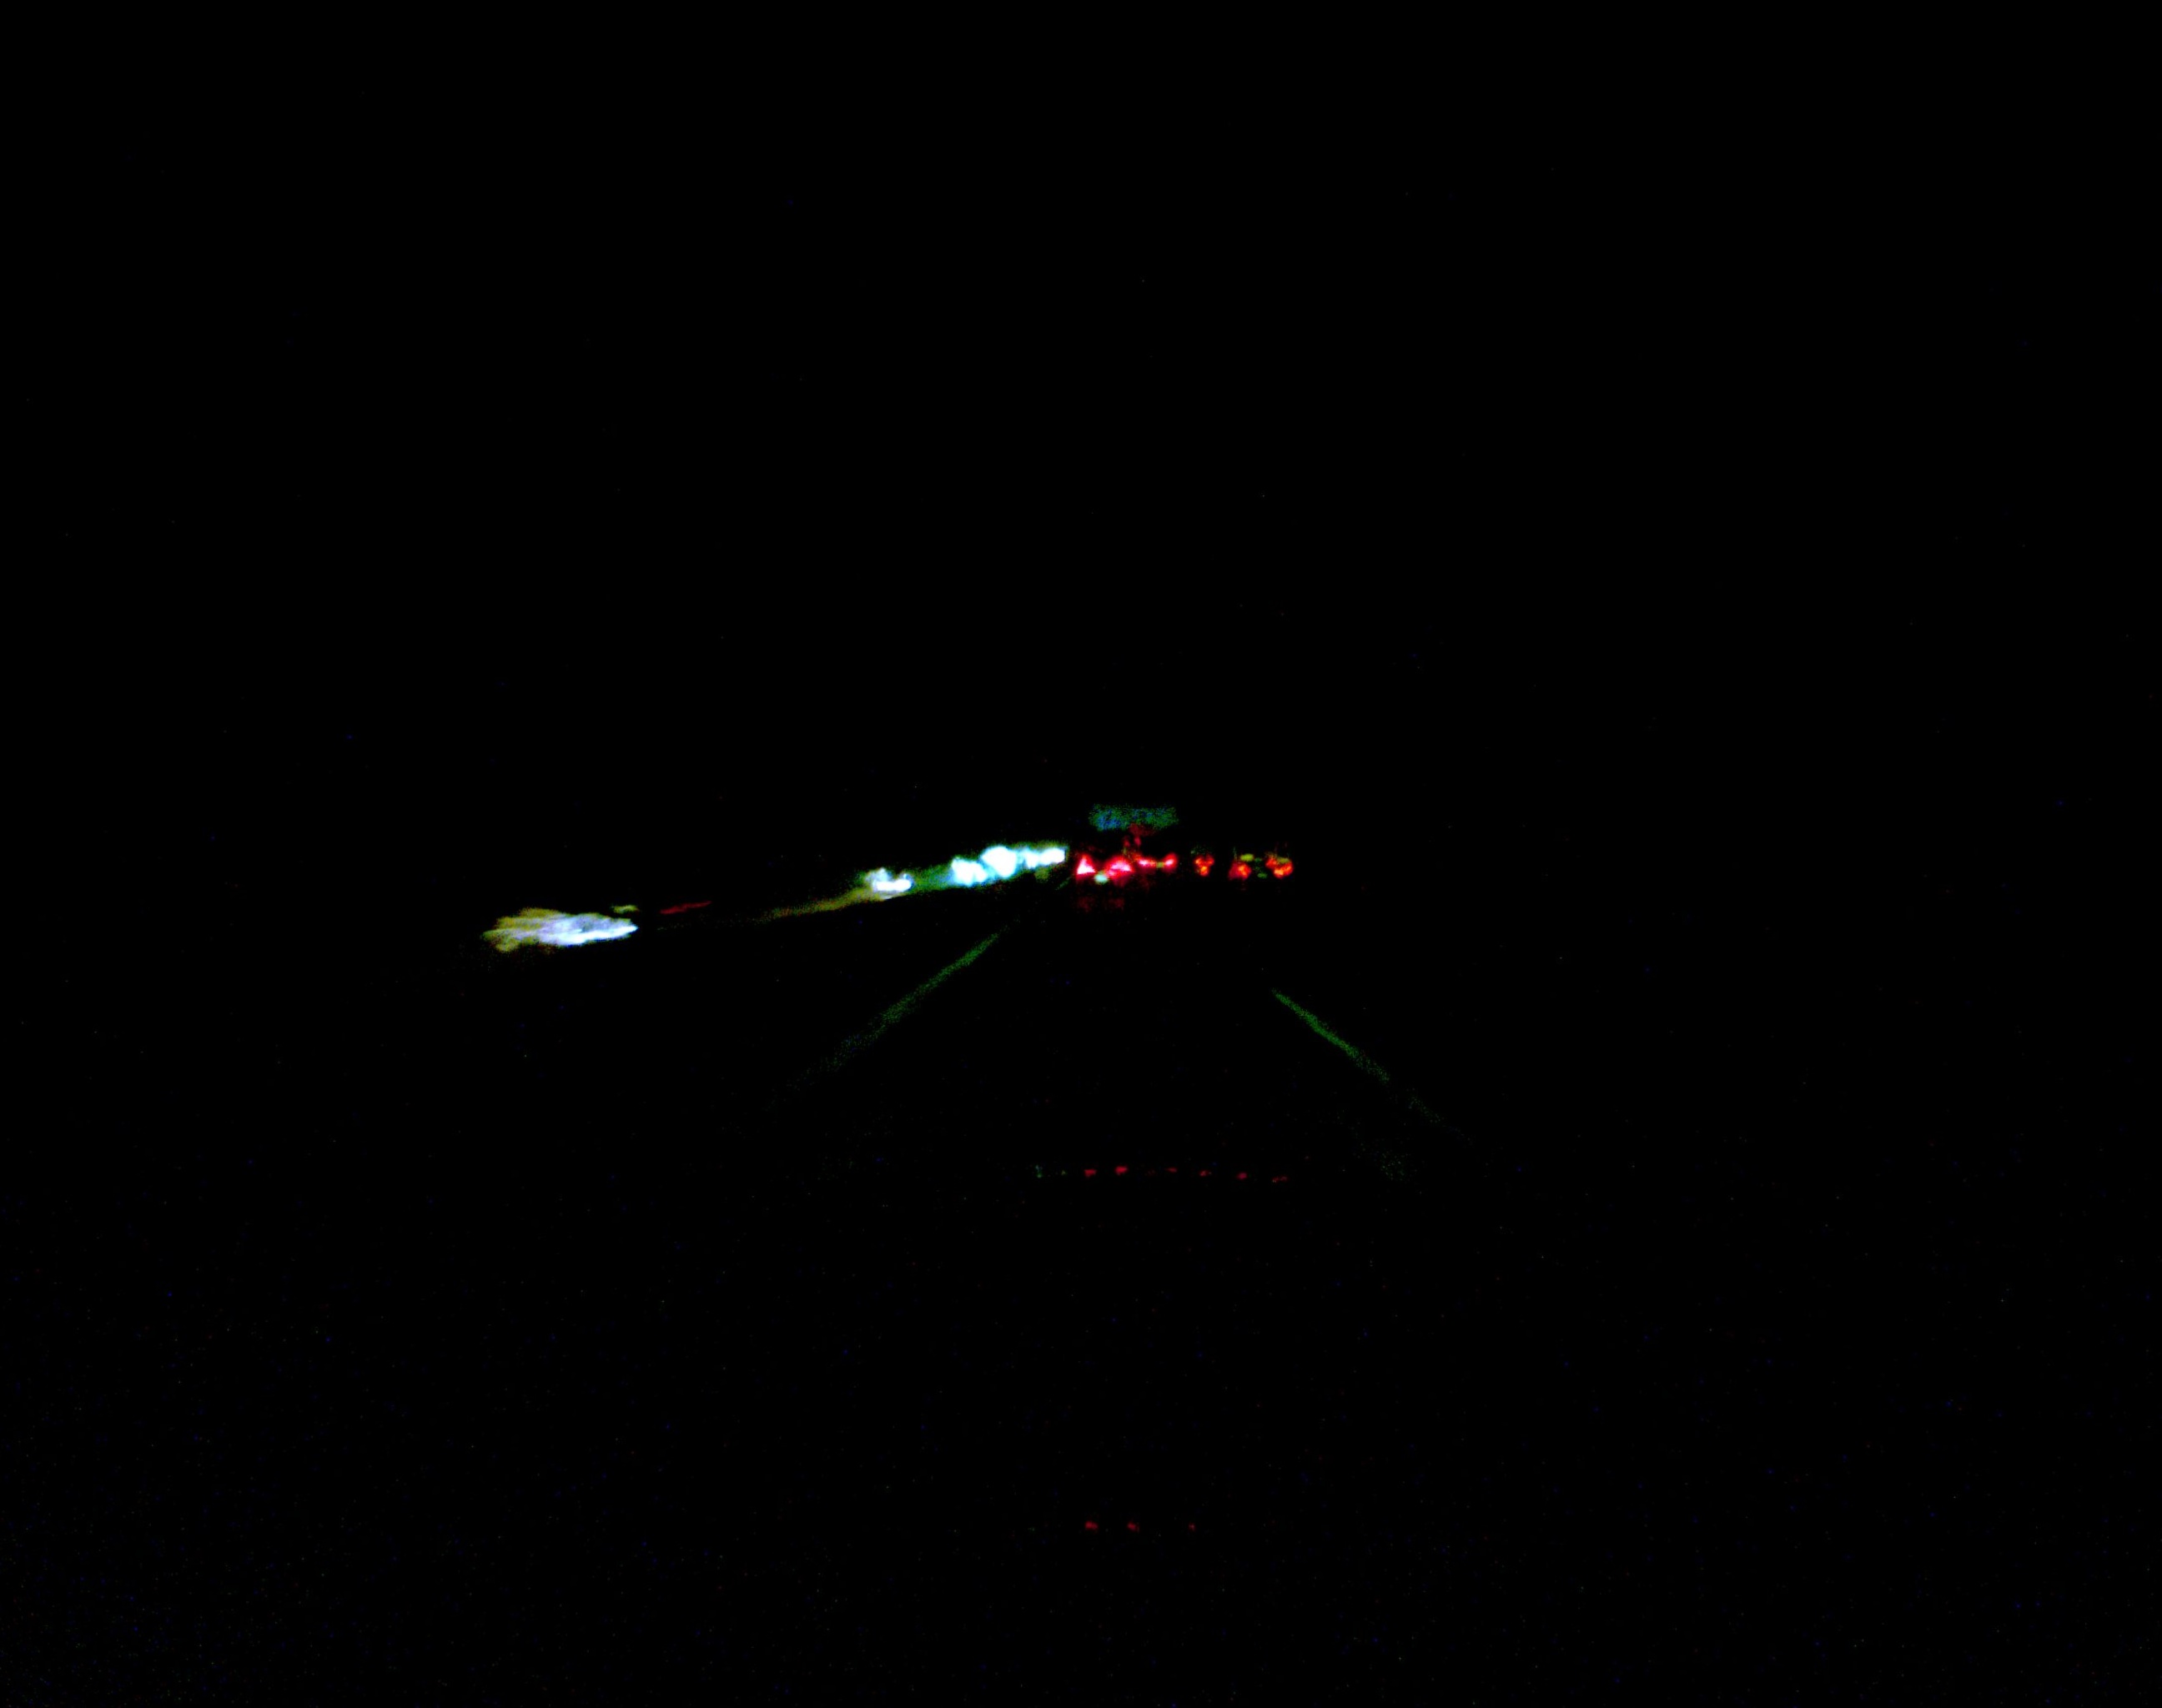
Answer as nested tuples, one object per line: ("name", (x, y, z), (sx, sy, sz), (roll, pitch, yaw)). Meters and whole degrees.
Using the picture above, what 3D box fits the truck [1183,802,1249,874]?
("truck", (8.359, -0.962, 51.077), (3.031, 4.108, 5.799), (-3, 0, 1))

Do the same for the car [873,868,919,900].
("car", (-11.535, 1.861, 50.945), (1.988, 1.760, 3.999), (0, 1, -1))

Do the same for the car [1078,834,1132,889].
("car", (0.933, 0.291, 32.118), (1.986, 2.014, 4.001), (-1, 0, 1))

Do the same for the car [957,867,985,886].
("car", (-10.980, 2.226, 81.669), (1.986, 1.760, 4.961), (0, 1, 1))

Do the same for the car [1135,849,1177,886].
("car", (4.376, 0.763, 48.145), (1.988, 2.013, 3.998), (-3, 0, -1))

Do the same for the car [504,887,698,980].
("car", (-11.693, 1.852, 20.310), (1.987, 1.760, 4.655), (0, 1, 1))

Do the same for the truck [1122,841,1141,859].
("truck", (9.960, -0.696, 160.454), (3.027, 3.297, 11.382), (-3, 0, 1))

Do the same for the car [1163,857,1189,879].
("car", (9.610, 1.392, 82.639), (1.988, 2.013, 3.998), (-3, 0, -1))

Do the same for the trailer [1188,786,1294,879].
("trailer", (8.271, -0.969, 44.384), (3.030, 4.108, 13.830), (-3, 0, 1))

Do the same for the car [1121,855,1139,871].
("car", (6.331, 1.152, 105.453), (1.988, 2.013, 3.998), (-3, 0, -1))

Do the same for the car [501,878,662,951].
("car", (-15.581, 1.796, 25.830), (1.988, 1.815, 5.092), (0, 1, -1))
